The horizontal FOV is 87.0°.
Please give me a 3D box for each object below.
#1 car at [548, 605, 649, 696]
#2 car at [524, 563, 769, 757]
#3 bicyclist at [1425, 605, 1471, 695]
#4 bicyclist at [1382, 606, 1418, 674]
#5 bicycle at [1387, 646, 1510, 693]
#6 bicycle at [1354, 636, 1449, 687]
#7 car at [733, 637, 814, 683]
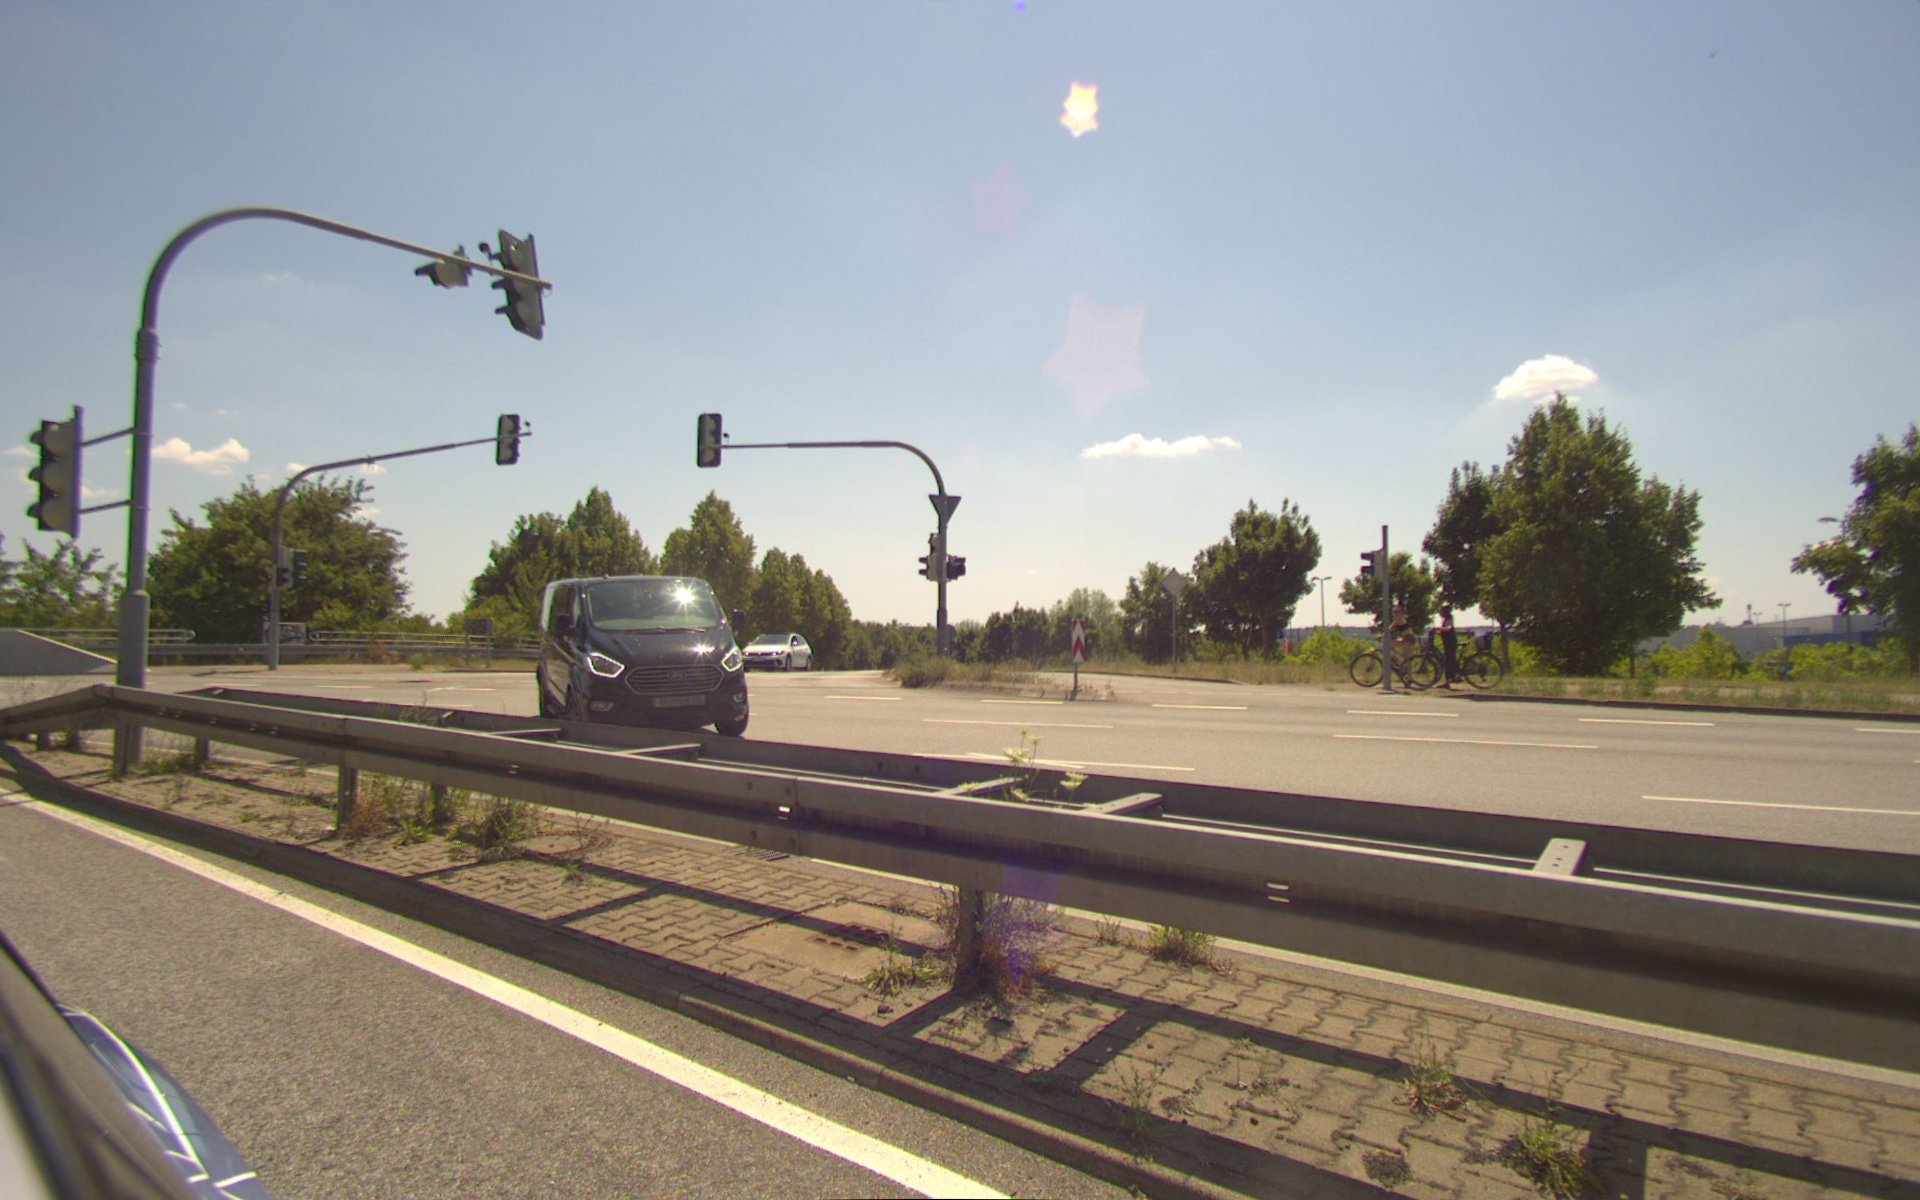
[{"bbox_3d":[-8.484,1.197,24.107,1.912,1.934,4.545,2,-3,-16],"label":"car"},{"bbox_3d":[-4.298,0.621,13.124,2.089,1.952,5.428,-1,0,-27],"label":"car"},{"bbox_3d":[9.538,0.971,19.800,0.725,1.731,0.528,-1,-1,21],"label":"bicyclist"},{"bbox_3d":[9.338,0.841,21.499,0.680,1.415,0.405,0,-1,22],"label":"bicyclist"},{"bbox_3d":[9.524,1.350,19.804,2.112,0.859,0.531,-1,-1,22],"label":"bicycle"},{"bbox_3d":[9.345,1.299,21.492,1.820,1.032,0.412,-1,-1,23],"label":"bicycle"},{"bbox_3d":[-6.702,2.137,36.771,1.774,1.540,3.990,-1,-1,7],"label":"car"}]
